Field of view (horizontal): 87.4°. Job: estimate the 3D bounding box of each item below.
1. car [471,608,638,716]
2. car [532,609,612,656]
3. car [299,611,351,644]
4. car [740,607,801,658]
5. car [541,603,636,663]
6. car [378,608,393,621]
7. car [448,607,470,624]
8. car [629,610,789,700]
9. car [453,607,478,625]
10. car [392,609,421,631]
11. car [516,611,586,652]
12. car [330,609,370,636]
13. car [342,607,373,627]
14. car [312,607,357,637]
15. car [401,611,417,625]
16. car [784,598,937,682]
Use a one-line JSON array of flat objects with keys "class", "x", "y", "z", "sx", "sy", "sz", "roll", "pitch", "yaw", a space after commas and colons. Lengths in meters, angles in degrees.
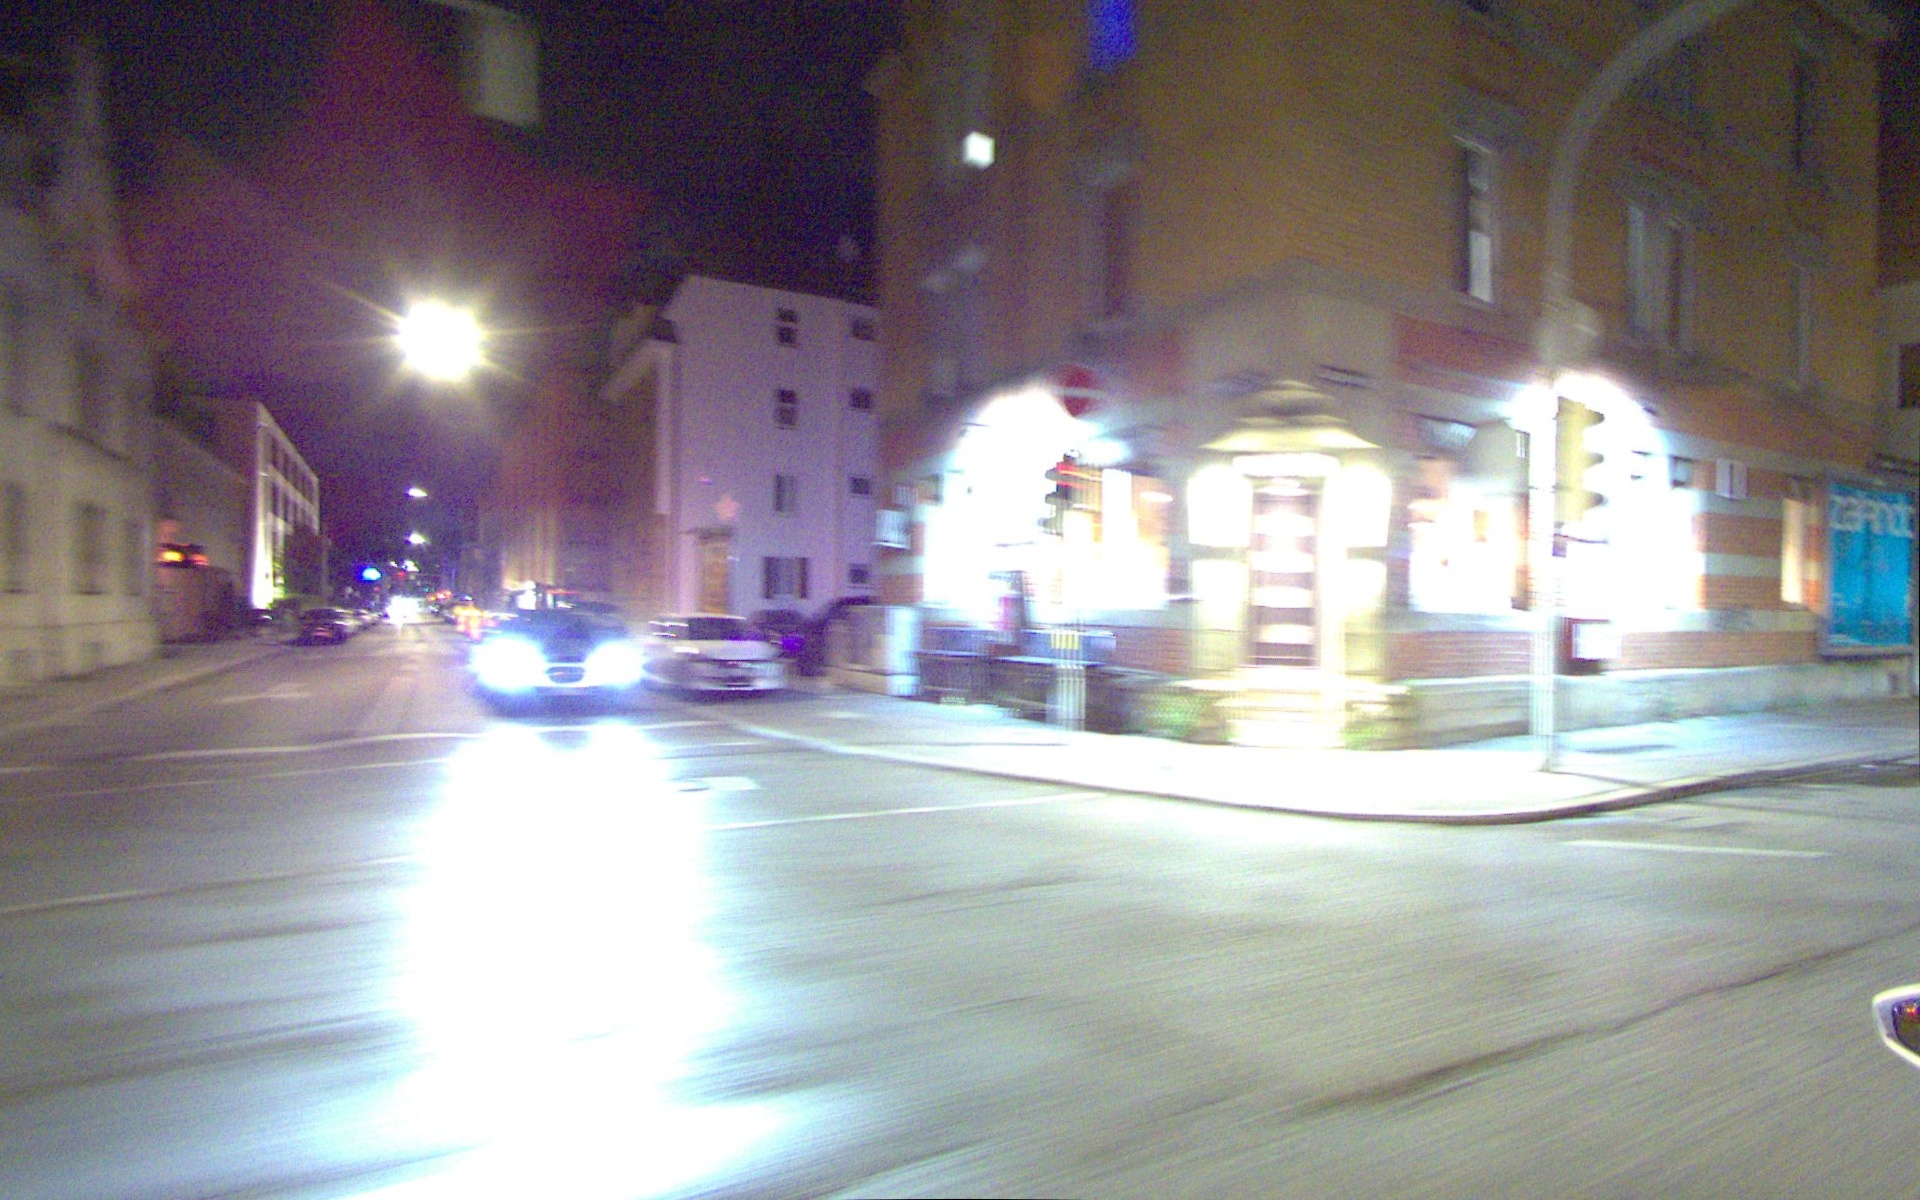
[{"class": "car", "x": -6.540, "y": 0.869, "z": 15.891, "sx": 1.894, "sy": 1.437, "sz": 4.605, "roll": 0, "pitch": -1, "yaw": -29}, {"class": "car", "x": -13.313, "y": 1.074, "z": 34.354, "sx": 1.976, "sy": 1.482, "sz": 4.156, "roll": 0, "pitch": -1, "yaw": -29}, {"class": "car", "x": -28.554, "y": 1.195, "z": 45.265, "sx": 1.852, "sy": 1.398, "sz": 3.967, "roll": 0, "pitch": -1, "yaw": -31}, {"class": "car", "x": -5.873, "y": 0.981, "z": 30.884, "sx": 1.673, "sy": 1.441, "sz": 3.609, "roll": 1, "pitch": -1, "yaw": -13}, {"class": "car", "x": -10.943, "y": 0.926, "z": 29.445, "sx": 1.976, "sy": 1.620, "sz": 4.256, "roll": 0, "pitch": -1, "yaw": -29}, {"class": "car", "x": -82.188, "y": 2.028, "z": 143.672, "sx": 1.801, "sy": 1.684, "sz": 3.965, "roll": 1, "pitch": 1, "yaw": -32}, {"class": "car", "x": -51.264, "y": 1.596, "z": 102.775, "sx": 1.974, "sy": 1.706, "sz": 3.972, "roll": 0, "pitch": -1, "yaw": -27}, {"class": "car", "x": -4.665, "y": 0.911, "z": 18.215, "sx": 1.780, "sy": 1.421, "sz": 4.256, "roll": 0, "pitch": -1, "yaw": -29}, {"class": "car", "x": -45.840, "y": 1.478, "z": 93.103, "sx": 1.974, "sy": 1.706, "sz": 3.972, "roll": 0, "pitch": -1, "yaw": -27}, {"class": "car", "x": -38.240, "y": 1.347, "z": 69.402, "sx": 1.746, "sy": 1.447, "sz": 3.969, "roll": 0, "pitch": -1, "yaw": -29}, {"class": "car", "x": -15.597, "y": 1.156, "z": 38.194, "sx": 1.976, "sy": 1.482, "sz": 4.156, "roll": 0, "pitch": -1, "yaw": -29}, {"class": "car", "x": -34.018, "y": 1.239, "z": 56.046, "sx": 1.746, "sy": 1.447, "sz": 3.969, "roll": 0, "pitch": -1, "yaw": -29}, {"class": "car", "x": -43.523, "y": 1.219, "z": 72.603, "sx": 1.746, "sy": 1.447, "sz": 3.969, "roll": 0, "pitch": -1, "yaw": -29}, {"class": "car", "x": -31.989, "y": 1.112, "z": 51.438, "sx": 1.746, "sy": 1.447, "sz": 3.969, "roll": 0, "pitch": -1, "yaw": -29}, {"class": "car", "x": -73.408, "y": 2.351, "z": 133.784, "sx": 1.698, "sy": 1.729, "sz": 3.820, "roll": 1, "pitch": 1, "yaw": -32}, {"class": "car", "x": -2.184, "y": 0.810, "z": 21.293, "sx": 1.686, "sy": 1.615, "sz": 3.582, "roll": 2, "pitch": -2, "yaw": -35}]
